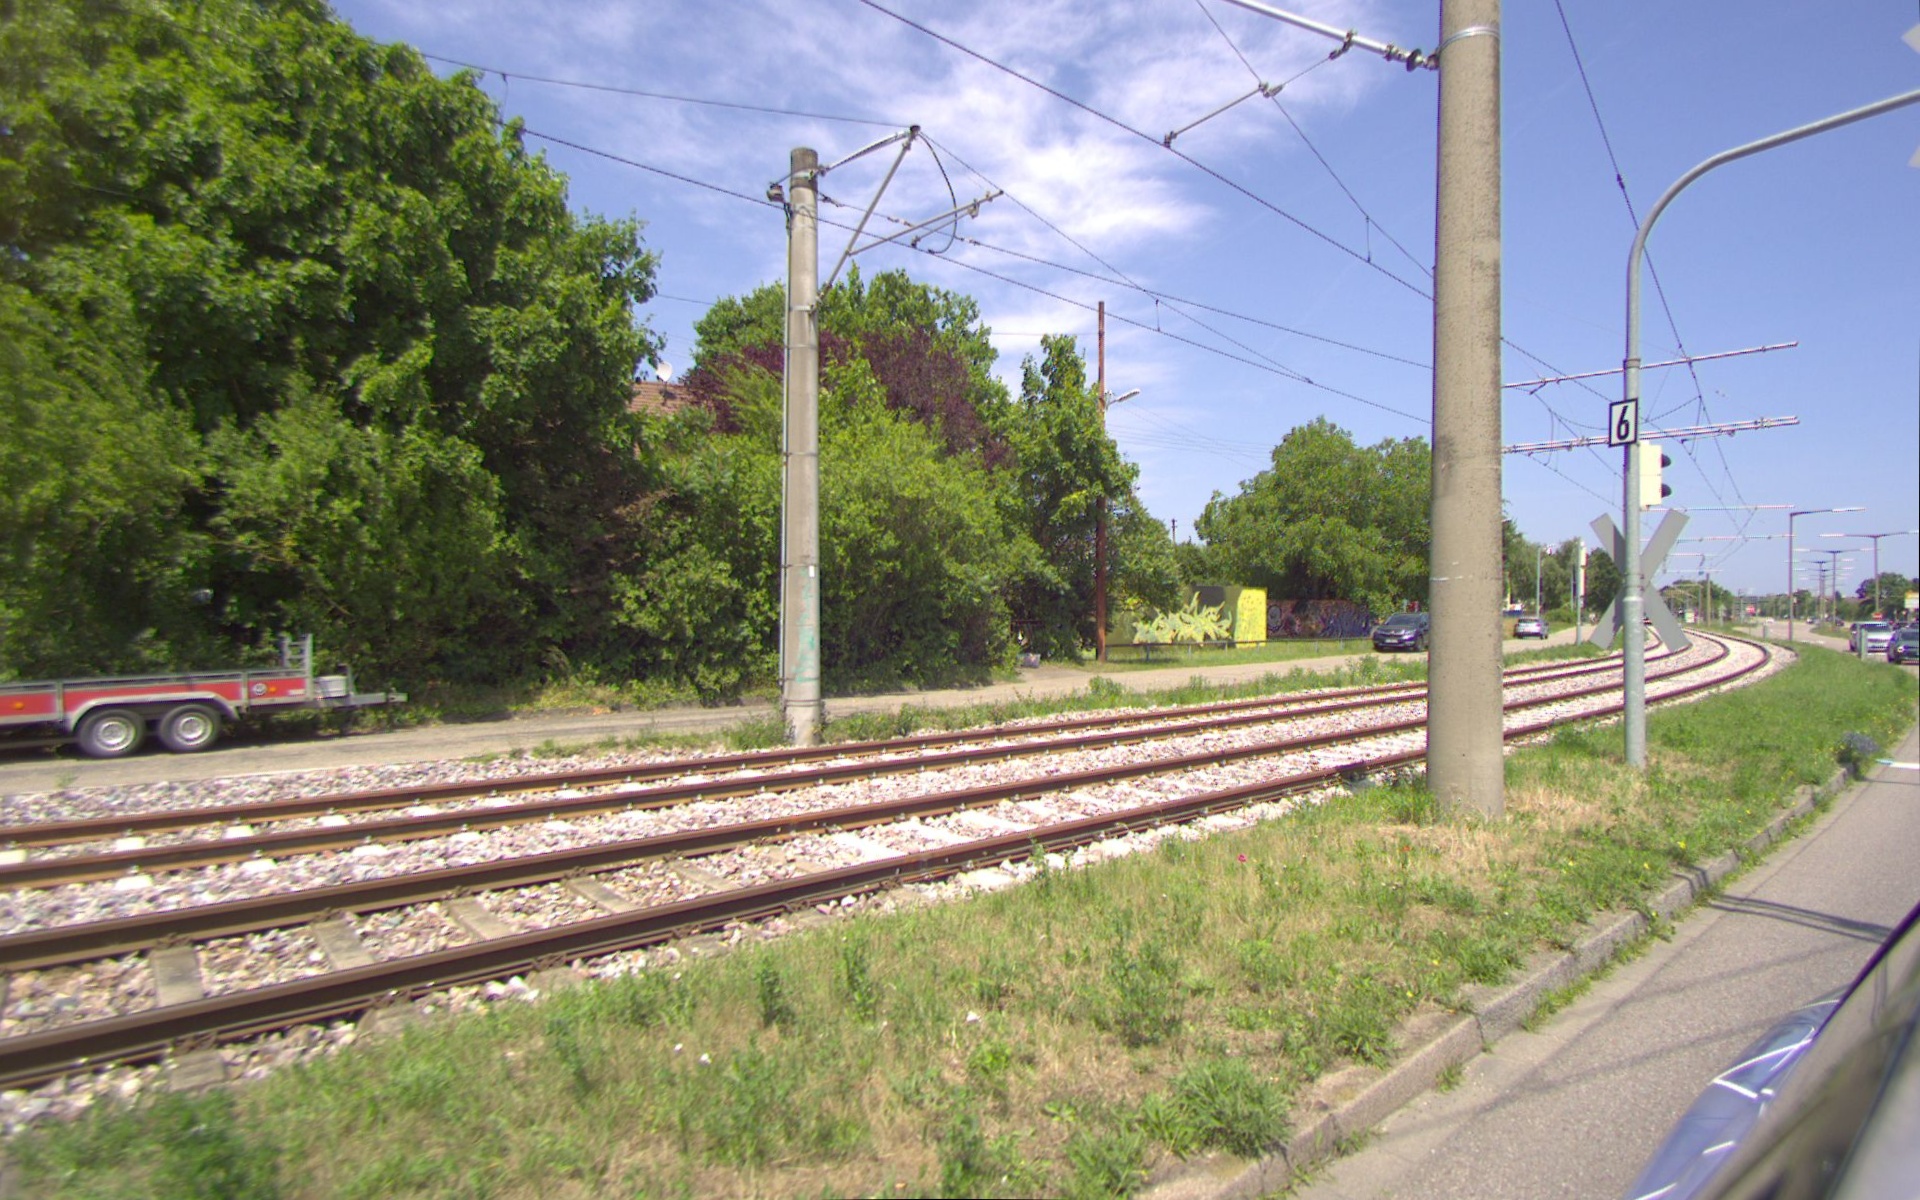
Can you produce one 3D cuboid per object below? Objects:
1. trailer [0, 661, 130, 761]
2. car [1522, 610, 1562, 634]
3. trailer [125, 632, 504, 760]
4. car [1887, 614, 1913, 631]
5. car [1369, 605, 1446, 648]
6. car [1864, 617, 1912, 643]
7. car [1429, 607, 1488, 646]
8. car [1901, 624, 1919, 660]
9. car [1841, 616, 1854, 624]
[{"bbox_3d":[-11.164,1.171,10.463,3.926,1.008,1.422,1,-3,-38],"label":"trailer"},{"bbox_3d":[38.001,1.424,66.037,1.677,1.432,4.487,0,1,38],"label":"car"},{"bbox_3d":[-8.116,1.119,12.976,3.927,1.238,1.465,-1,1,-38],"label":"trailer"},{"bbox_3d":[94.578,2.261,101.849,1.820,1.592,4.050,0,1,42],"label":"car"},{"bbox_3d":[19.317,1.082,43.575,1.825,1.677,4.746,0,1,40],"label":"car"},{"bbox_3d":[57.226,1.846,62.457,1.800,1.492,3.466,0,0,36],"label":"car"},{"bbox_3d":[23.622,1.200,47.914,1.672,1.644,4.649,0,1,37],"label":"car"},{"bbox_3d":[43.041,1.842,44.942,1.502,1.449,3.313,0,1,37],"label":"car"},{"bbox_3d":[169.448,3.726,193.280,1.610,1.412,3.554,0,1,36],"label":"car"}]
